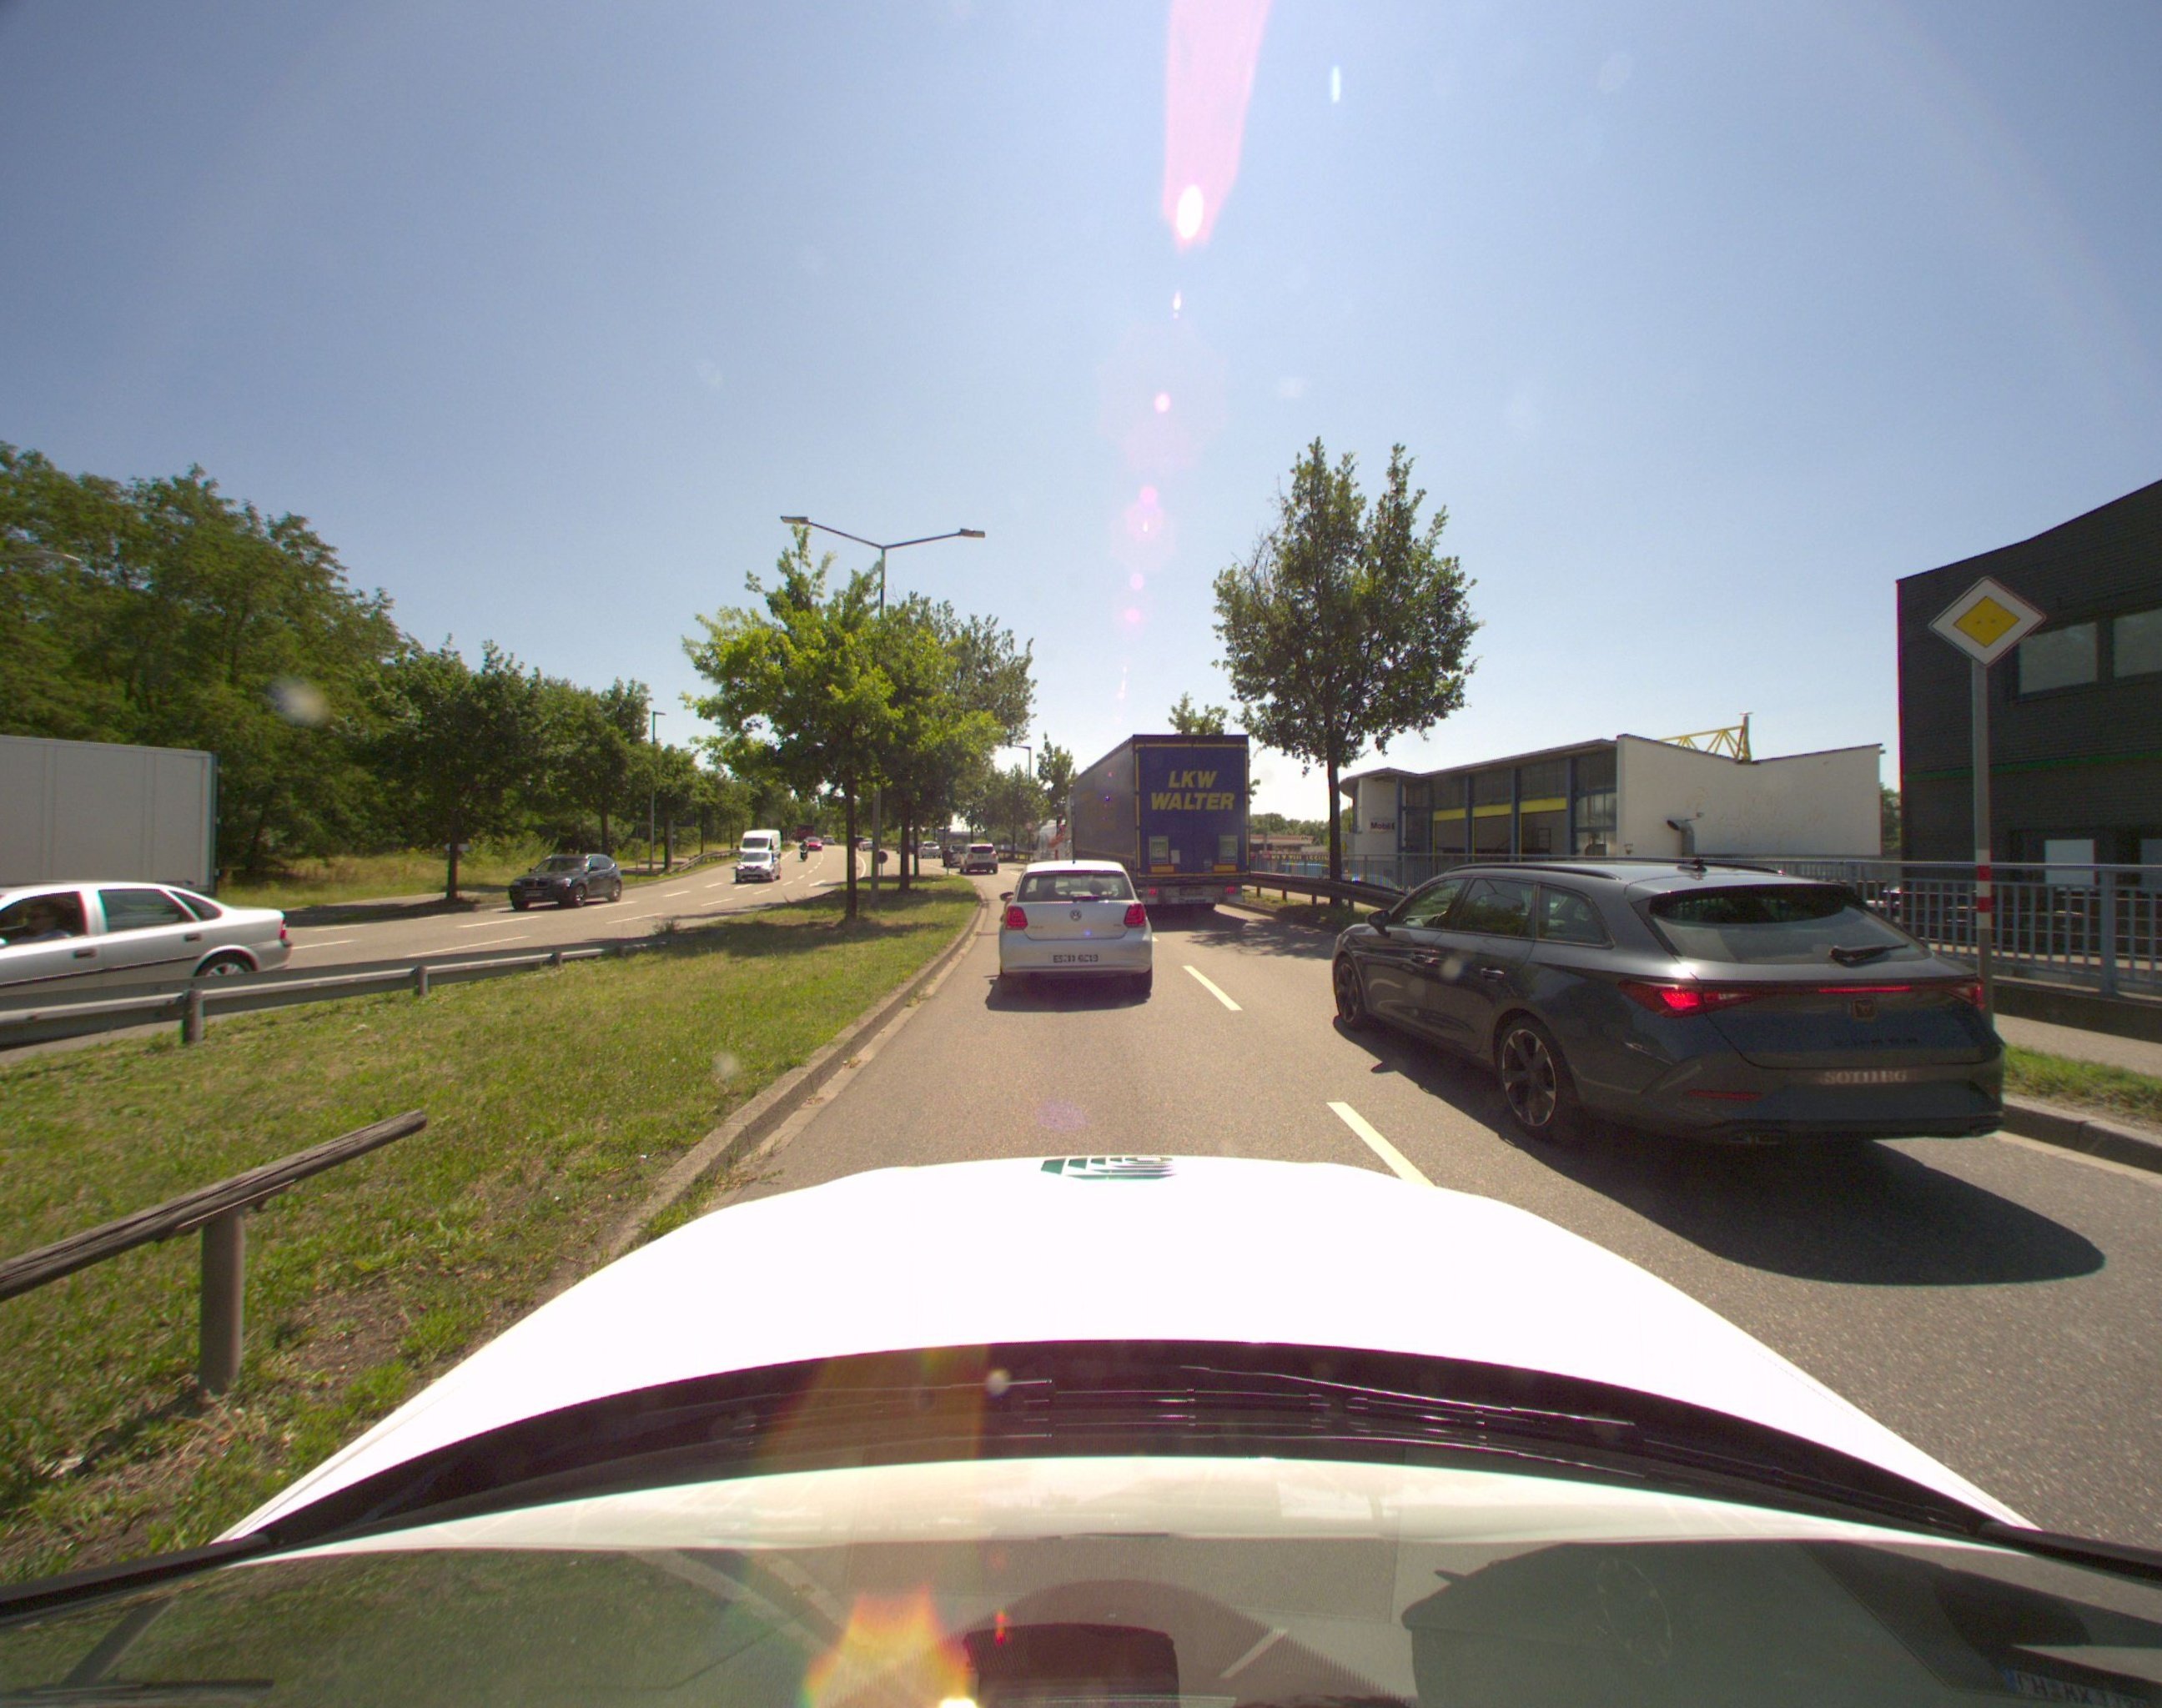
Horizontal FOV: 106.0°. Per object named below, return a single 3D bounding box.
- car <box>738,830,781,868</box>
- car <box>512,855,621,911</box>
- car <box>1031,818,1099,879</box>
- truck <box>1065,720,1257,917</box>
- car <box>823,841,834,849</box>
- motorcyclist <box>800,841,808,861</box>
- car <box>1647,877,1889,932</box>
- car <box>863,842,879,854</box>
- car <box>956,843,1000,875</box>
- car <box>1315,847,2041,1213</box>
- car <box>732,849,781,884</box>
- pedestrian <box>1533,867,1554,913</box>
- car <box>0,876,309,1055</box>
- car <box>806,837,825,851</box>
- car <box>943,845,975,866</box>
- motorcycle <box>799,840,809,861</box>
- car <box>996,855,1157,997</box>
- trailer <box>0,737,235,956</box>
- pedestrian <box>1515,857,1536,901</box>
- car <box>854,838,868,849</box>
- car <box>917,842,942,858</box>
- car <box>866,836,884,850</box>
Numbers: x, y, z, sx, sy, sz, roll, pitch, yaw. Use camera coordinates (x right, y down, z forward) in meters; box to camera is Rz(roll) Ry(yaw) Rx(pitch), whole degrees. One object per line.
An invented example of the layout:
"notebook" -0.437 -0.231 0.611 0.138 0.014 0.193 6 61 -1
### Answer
"car" -22.504 -0.408 57.225 2.098 2.500 5.780 -2 1 -15
"car" -16.548 0.878 26.432 1.489 1.633 4.455 0 0 -11
"car" -0.943 -0.346 42.089 2.179 2.900 6.328 0 1 -14
"truck" 1.577 -0.812 25.720 2.829 4.198 16.440 0 0 -6
"car" -38.502 -1.342 124.183 1.326 1.138 2.974 0 0 -21
"motorcyclist" -22.347 -0.214 65.615 0.588 1.626 0.560 0 -1 -16
"car" 19.347 1.378 23.310 5.017 1.358 2.012 -1 -1 31
"car" -24.421 -0.675 94.697 1.462 1.314 3.613 0 0 -20
"car" -5.924 0.272 46.528 1.907 1.718 4.201 0 0 -16
"car" 3.067 0.719 5.437 1.601 1.456 4.230 0 0 -3
"car" -16.116 0.612 40.576 1.636 1.567 4.054 -1 0 -13
"pedestrian" 17.635 1.363 31.057 0.426 1.703 0.588 0 -1 -8
"car" -9.680 0.964 7.315 1.631 1.403 4.216 -2 0 -4
"car" -30.192 -1.079 92.789 1.834 1.437 4.501 -2 0 -16
"car" -8.169 0.094 54.394 1.499 1.360 3.639 0 0 -19
"motorcycle" -22.339 -0.250 65.649 0.599 1.678 2.412 0 -1 -16
"car" -0.041 0.744 10.082 1.641 1.439 3.536 0 0 0
"trailer" -22.944 -0.068 12.931 2.983 4.049 12.785 0 1 30
"pedestrian" 17.268 0.961 31.624 0.521 1.703 0.487 0 -1 -7
"car" -28.523 -1.315 105.433 1.422 1.314 3.314 0 0 -20
"car" -13.424 -0.355 72.020 1.613 1.360 3.639 0 0 -19
"car" -23.867 -1.252 94.190 1.671 1.465 3.556 0 0 -20
